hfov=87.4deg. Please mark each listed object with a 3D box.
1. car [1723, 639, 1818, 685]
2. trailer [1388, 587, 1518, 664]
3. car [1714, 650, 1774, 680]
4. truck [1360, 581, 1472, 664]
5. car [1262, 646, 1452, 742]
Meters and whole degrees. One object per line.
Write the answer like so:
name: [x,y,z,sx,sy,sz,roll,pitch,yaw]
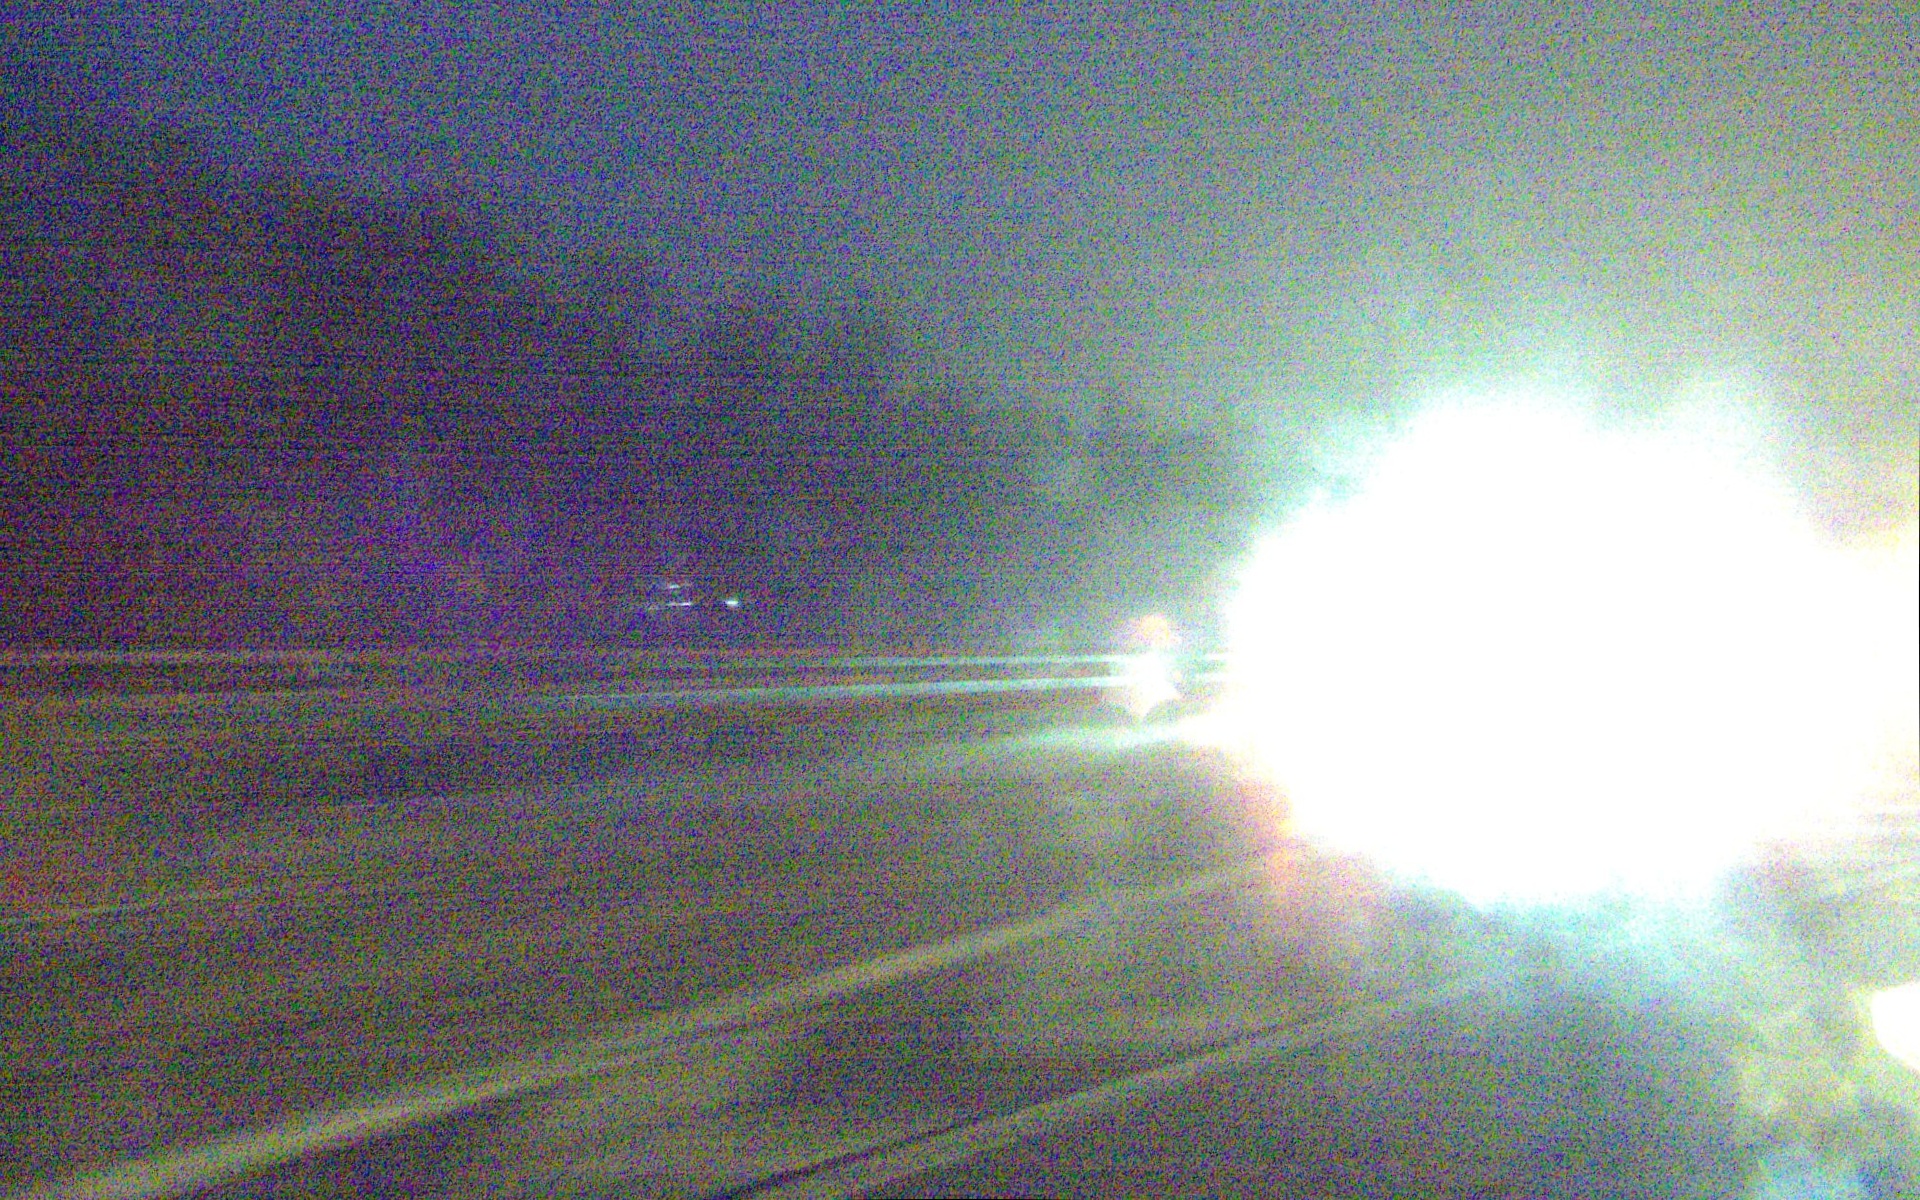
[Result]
car: [26.962,2.058,33.362,4.021,1.398,1.944,4,-3,-43]
trailer: [28.813,1.646,58.173,3.401,3.928,13.298,-1,-4,41]
car: [42.883,3.515,54.924,4.878,1.537,1.752,3,-4,-42]
truck: [23.970,1.287,52.589,3.360,4.025,7.421,-2,-3,41]
car: [7.457,1.684,18.732,3.817,1.595,1.636,2,-5,-40]
